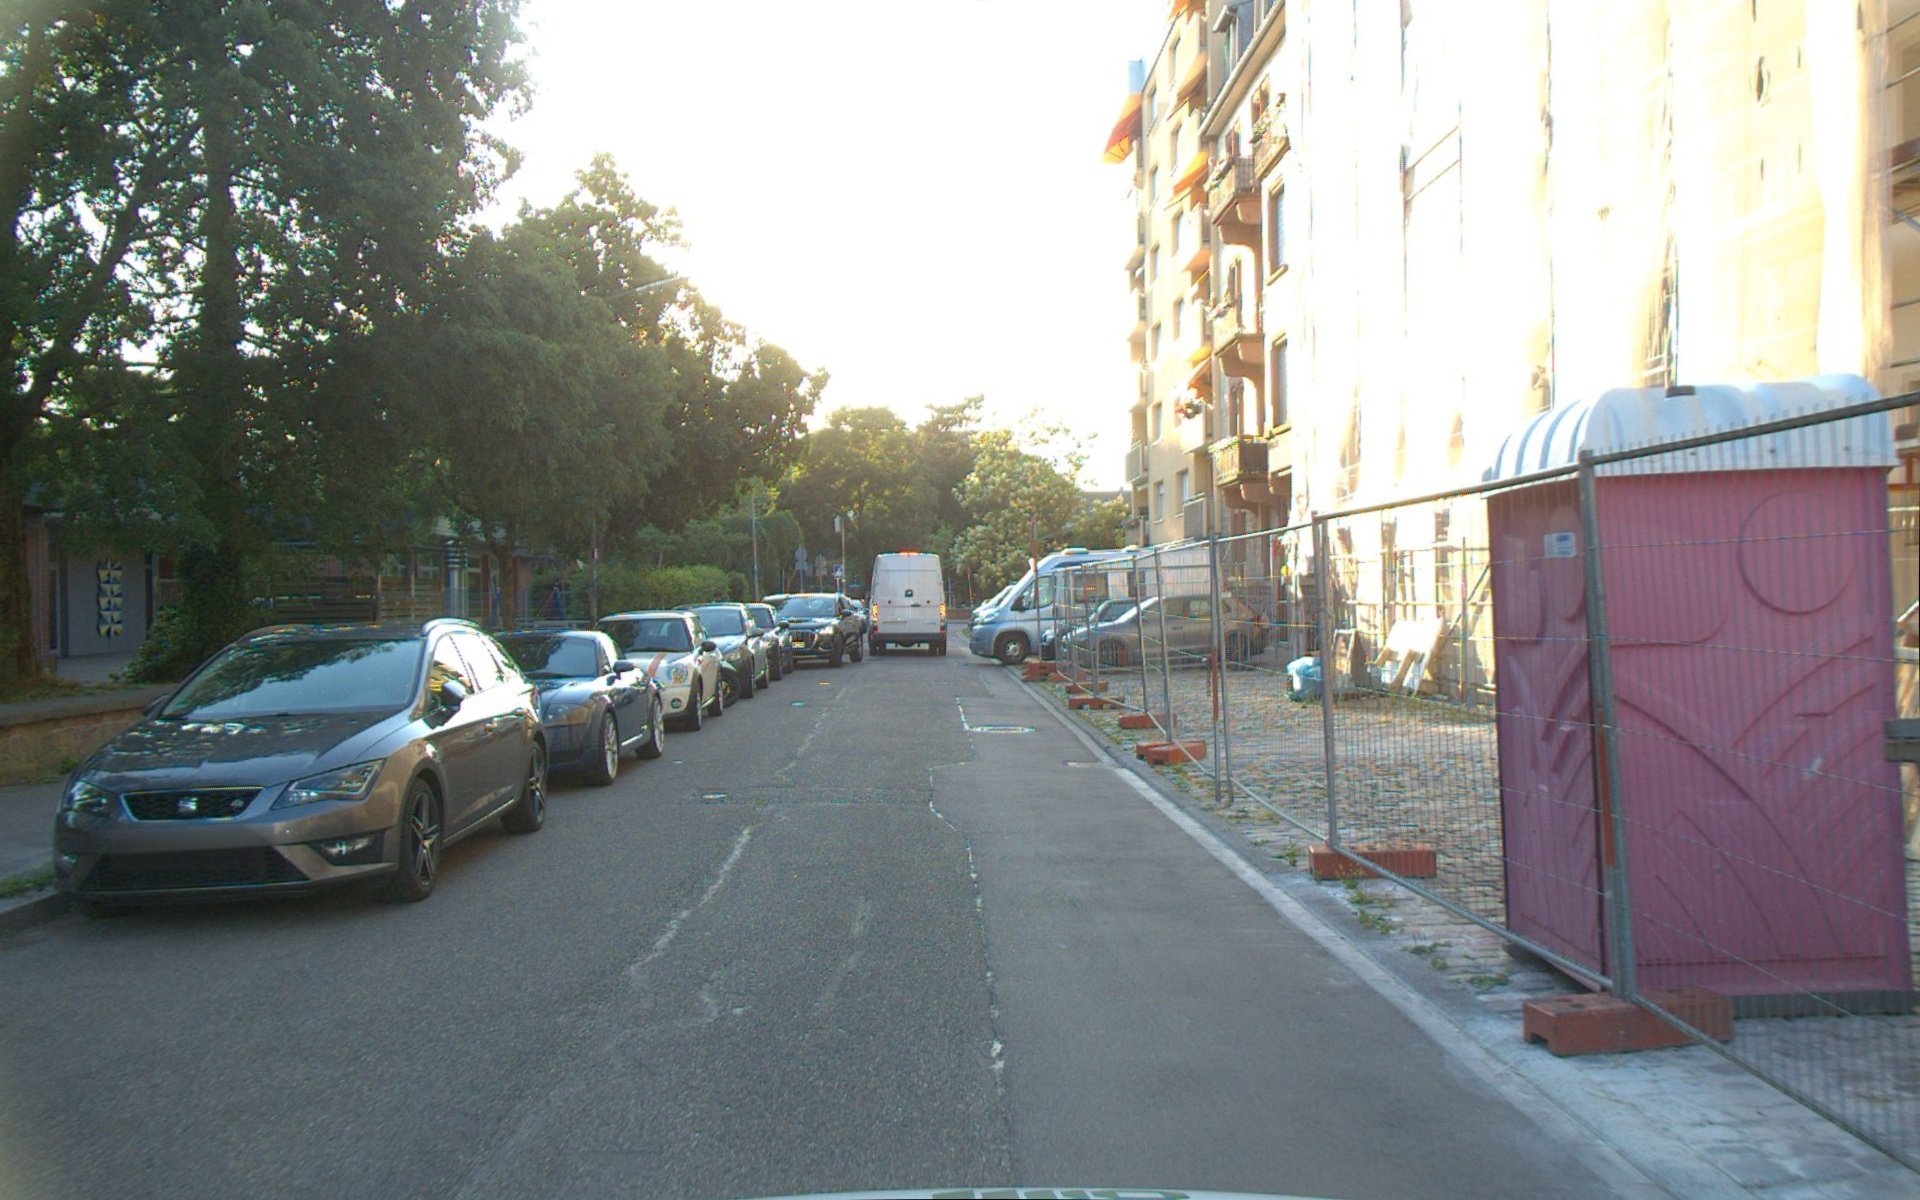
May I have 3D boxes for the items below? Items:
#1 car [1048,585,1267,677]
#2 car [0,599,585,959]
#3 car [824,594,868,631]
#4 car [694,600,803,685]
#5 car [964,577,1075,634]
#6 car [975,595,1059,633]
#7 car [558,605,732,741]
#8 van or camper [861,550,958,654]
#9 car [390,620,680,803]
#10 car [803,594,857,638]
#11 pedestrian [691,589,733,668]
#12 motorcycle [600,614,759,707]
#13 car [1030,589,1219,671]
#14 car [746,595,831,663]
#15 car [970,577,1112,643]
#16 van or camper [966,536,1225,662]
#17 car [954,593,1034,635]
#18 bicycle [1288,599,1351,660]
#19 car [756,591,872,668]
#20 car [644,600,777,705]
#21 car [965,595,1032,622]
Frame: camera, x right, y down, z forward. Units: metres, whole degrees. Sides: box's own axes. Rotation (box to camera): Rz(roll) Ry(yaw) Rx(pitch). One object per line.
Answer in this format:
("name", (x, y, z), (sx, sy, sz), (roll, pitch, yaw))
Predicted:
("car", (3.886, 0.591, 32.965), (3.911, 1.542, 2.017), (-3, 0, -6))
("car", (-3.640, 0.808, 9.883), (1.822, 1.565, 4.756), (-2, 0, -2))
("car", (-5.128, 0.562, 74.902), (1.954, 1.646, 3.997), (0, 0, -3))
("car", (-4.100, 0.785, 32.618), (1.604, 1.504, 3.992), (-2, 0, -1))
("car", (2.414, 0.227, 67.693), (4.405, 2.269, 2.031), (0, 0, -2))
("car", (2.708, 0.658, 78.701), (3.906, 1.758, 2.000), (0, 0, -1))
("car", (-3.897, 0.851, 21.006), (1.569, 1.456, 3.801), (-4, 0, -3))
("van or camper", (-1.352, 0.048, 45.047), (2.404, 2.591, 6.081), (1, 0, -1))
("car", (-3.745, 0.913, 15.296), (1.625, 1.336, 4.153), (-2, 0, -1))
("car", (-4.991, 0.588, 63.951), (1.954, 1.646, 3.997), (0, 0, -3))
("pedestrian", (-5.927, 0.666, 39.516), (0.919, 1.862, 0.786), (0, 0, -3))
("motorcycle", (-4.102, 0.870, 24.261), (2.118, 1.326, 0.880), (0, 0, 13))
("car", (3.510, 0.653, 35.801), (3.855, 1.512, 1.786), (-3, -1, -1))
("car", (-4.517, 0.738, 44.123), (1.747, 1.659, 4.000), (-3, 0, 0))
("car", (2.682, 0.326, 55.454), (4.612, 2.183, 1.999), (0, 0, -3))
("van or camper", (3.095, -0.018, 38.555), (5.810, 2.818, 2.108), (0, 0, -3))
("car", (1.648, 0.685, 80.914), (3.905, 2.049, 2.000), (0, 0, 0))
("bicycle", (7.309, 0.580, 33.696), (0.618, 1.189, 2.031), (0, 0, -7))
("car", (-3.231, 0.632, 37.426), (1.766, 1.597, 4.568), (-1, 0, 6))
("car", (-4.049, 0.807, 27.457), (1.681, 1.522, 4.358), (-2, 0, -3))
("car", (2.328, 0.505, 101.057), (3.909, 1.646, 1.998), (0, 0, -5))
